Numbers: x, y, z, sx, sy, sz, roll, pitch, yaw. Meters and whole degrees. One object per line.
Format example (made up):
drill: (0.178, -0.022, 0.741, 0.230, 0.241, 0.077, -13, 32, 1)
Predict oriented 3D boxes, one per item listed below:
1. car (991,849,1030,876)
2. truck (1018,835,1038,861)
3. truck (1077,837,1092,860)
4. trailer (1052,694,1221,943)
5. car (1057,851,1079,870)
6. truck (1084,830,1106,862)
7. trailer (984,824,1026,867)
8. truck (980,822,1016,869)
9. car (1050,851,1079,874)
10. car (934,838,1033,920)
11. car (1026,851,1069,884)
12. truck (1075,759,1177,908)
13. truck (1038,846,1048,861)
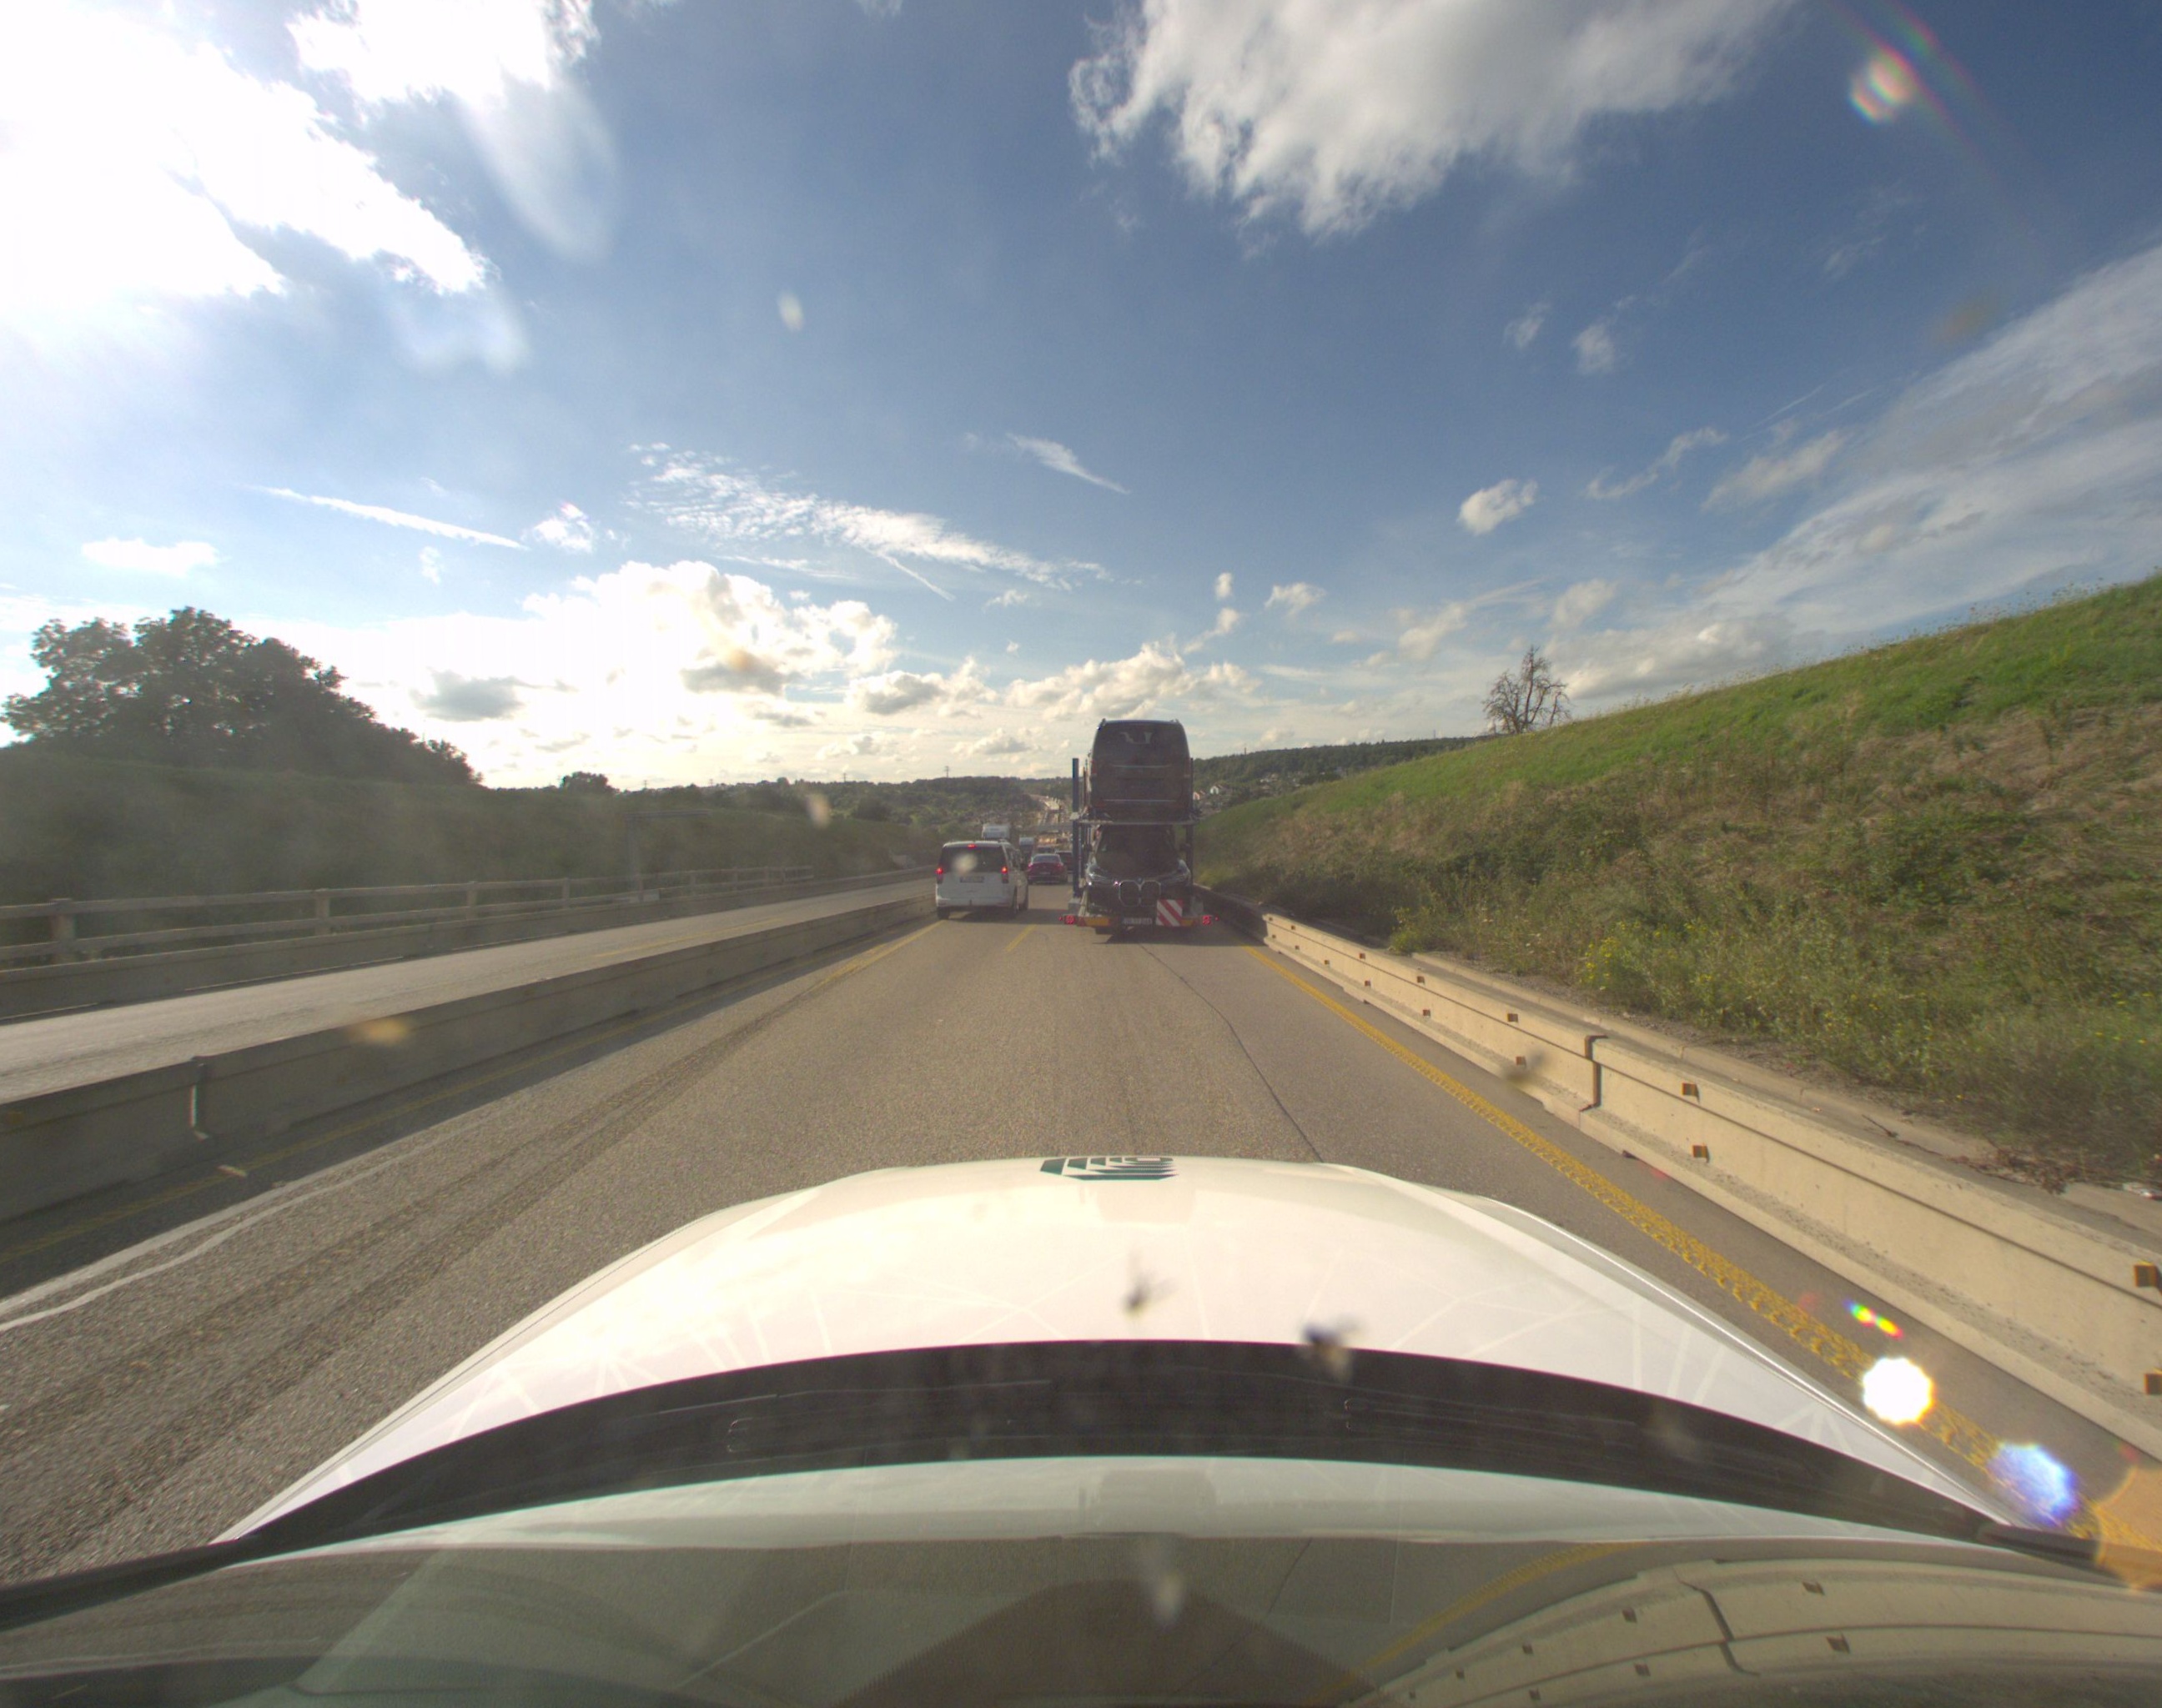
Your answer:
car: (-4.775, 0.553, 55.786, 1.940, 1.746, 5.582, 0, 1, 2)
truck: (-8.708, -0.946, 134.754, 2.630, 4.099, 10.815, -1, 0, 0)
truck: (0.594, -1.171, 168.955, 2.855, 4.570, 11.653, -1, 0, -1)
trailer: (1.064, -0.603, 19.035, 2.698, 4.029, 11.423, -1, 0, 2)
car: (-1.130, 0.555, 73.102, 1.790, 1.596, 4.742, -1, 0, 0)
truck: (1.972, -1.138, 120.126, 2.855, 4.570, 11.653, -1, 0, -1)
trailer: (-7.501, -0.802, 81.957, 2.605, 3.953, 13.876, -1, 0, 1)
truck: (-7.600, -0.772, 75.316, 2.605, 4.153, 5.782, -1, 0, 1)
car: (-1.173, 0.576, 59.541, 1.987, 1.625, 4.750, 0, 0, 1)
car: (-2.305, 0.526, 20.405, 1.816, 1.823, 4.458, 0, 1, 2)
car: (-1.595, 0.614, 40.374, 1.816, 1.492, 4.686, 0, 1, 1)
truck: (1.303, -0.551, 24.725, 2.668, 3.922, 6.030, -1, 0, 2)
truck: (-10.379, -0.198, 223.893, 2.631, 4.099, 10.811, -1, 0, -1)
